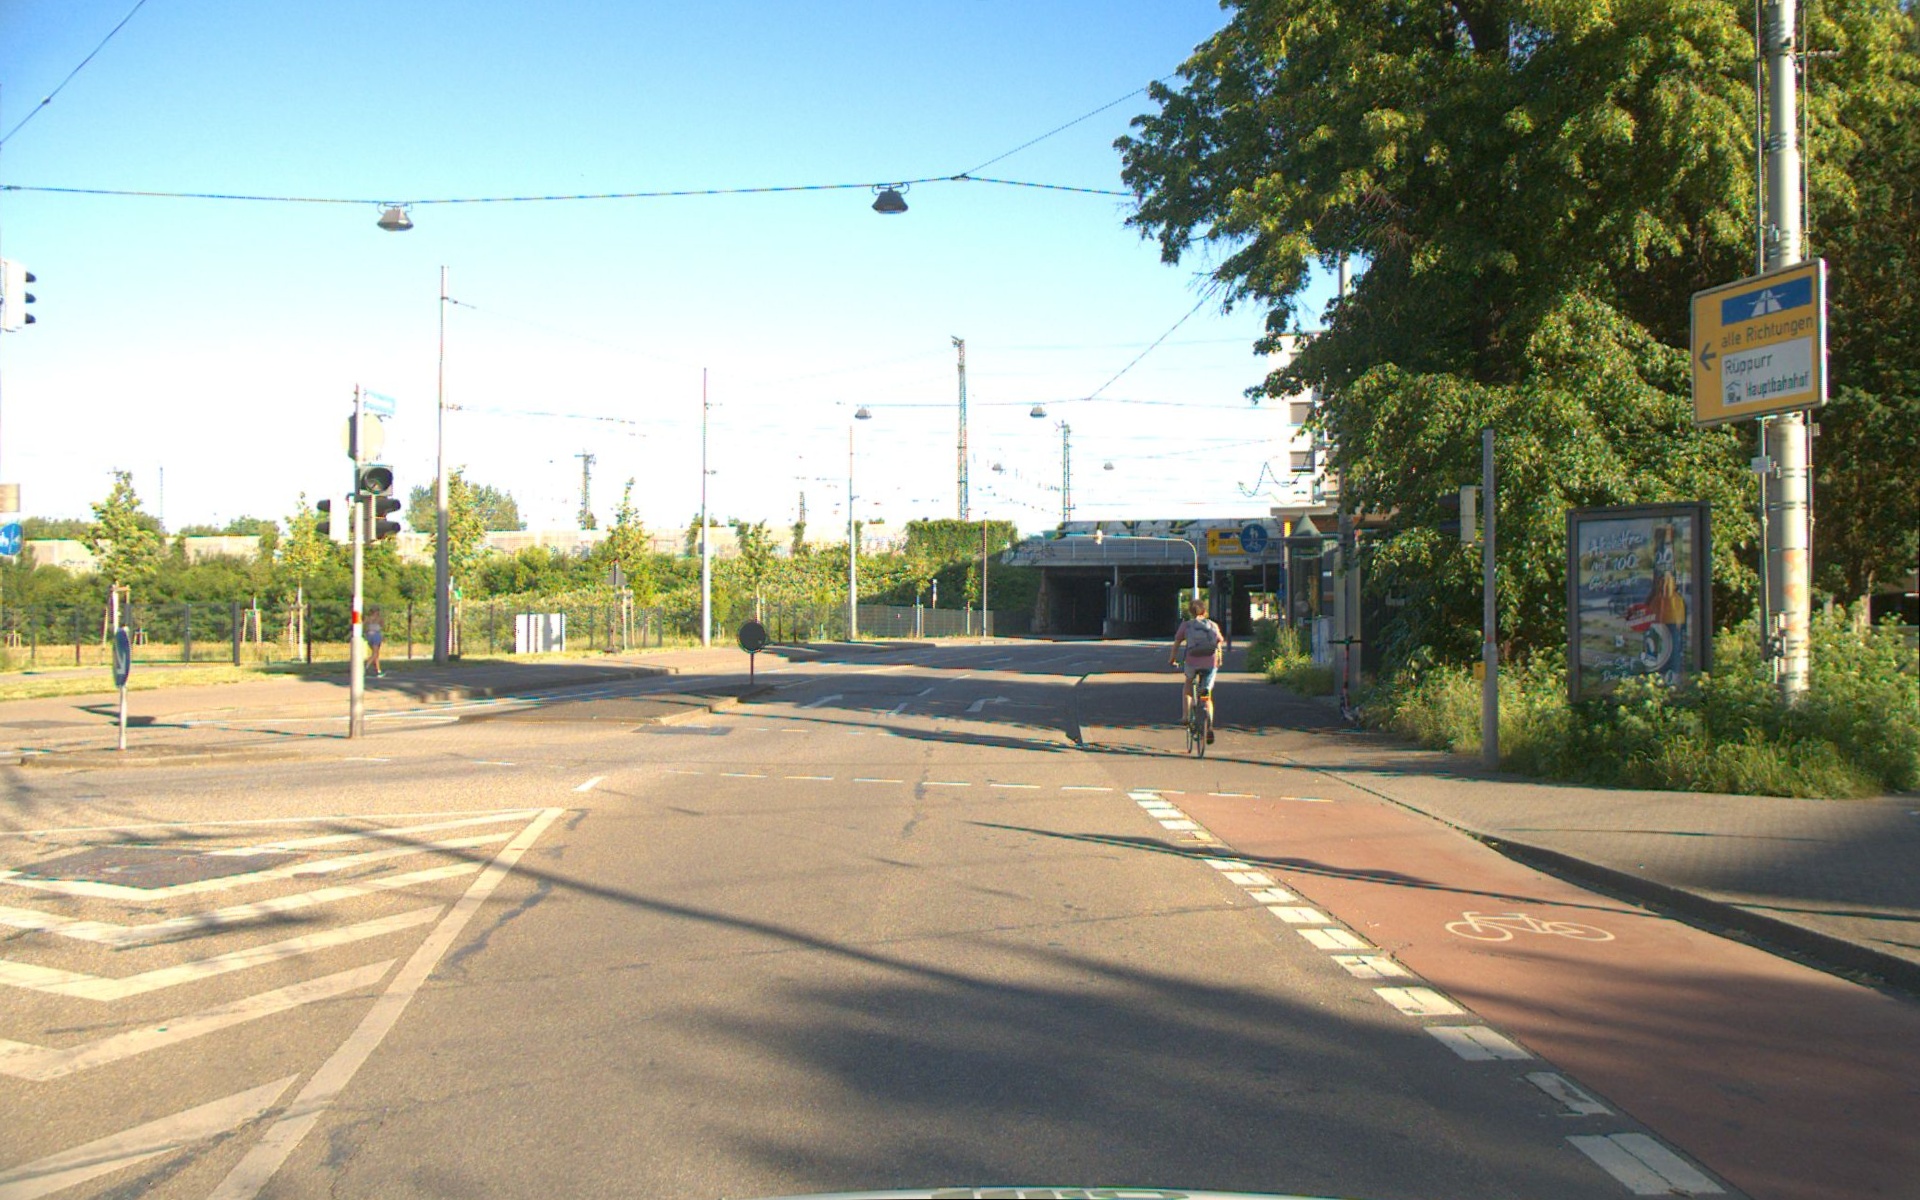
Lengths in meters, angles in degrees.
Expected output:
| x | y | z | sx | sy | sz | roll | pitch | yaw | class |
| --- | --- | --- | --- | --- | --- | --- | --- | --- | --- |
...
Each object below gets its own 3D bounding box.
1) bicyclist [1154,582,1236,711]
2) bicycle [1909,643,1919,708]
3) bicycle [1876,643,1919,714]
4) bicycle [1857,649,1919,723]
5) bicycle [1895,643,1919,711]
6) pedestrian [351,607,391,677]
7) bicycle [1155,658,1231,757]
| x | y | z | sx | sy | sz | roll | pitch | yaw | class |
| --- | --- | --- | --- | --- | --- | --- | --- | --- | --- |
| 2.877 | 0.556 | 20.391 | 0.823 | 1.536 | 1.369 | -1 | 0 | 1 | bicyclist |
| 14.550 | 1.078 | 23.384 | 1.851 | 0.922 | 0.655 | -1 | 0 | 44 | bicycle |
| 13.338 | 1.057 | 22.063 | 1.851 | 0.922 | 0.655 | -1 | 0 | 44 | bicycle |
| 12.656 | 1.108 | 21.288 | 1.851 | 0.922 | 0.655 | -1 | 0 | 44 | bicycle |
| 13.928 | 1.068 | 22.641 | 1.851 | 0.922 | 0.655 | -1 | 0 | 44 | bicycle |
| -13.706 | 0.970 | 38.510 | 0.586 | 1.624 | 0.685 | 1 | 0 | 11 | pedestrian |
| 2.843 | 1.294 | 20.365 | 0.653 | 1.078 | 2.082 | -1 | 0 | 1 | bicycle |
